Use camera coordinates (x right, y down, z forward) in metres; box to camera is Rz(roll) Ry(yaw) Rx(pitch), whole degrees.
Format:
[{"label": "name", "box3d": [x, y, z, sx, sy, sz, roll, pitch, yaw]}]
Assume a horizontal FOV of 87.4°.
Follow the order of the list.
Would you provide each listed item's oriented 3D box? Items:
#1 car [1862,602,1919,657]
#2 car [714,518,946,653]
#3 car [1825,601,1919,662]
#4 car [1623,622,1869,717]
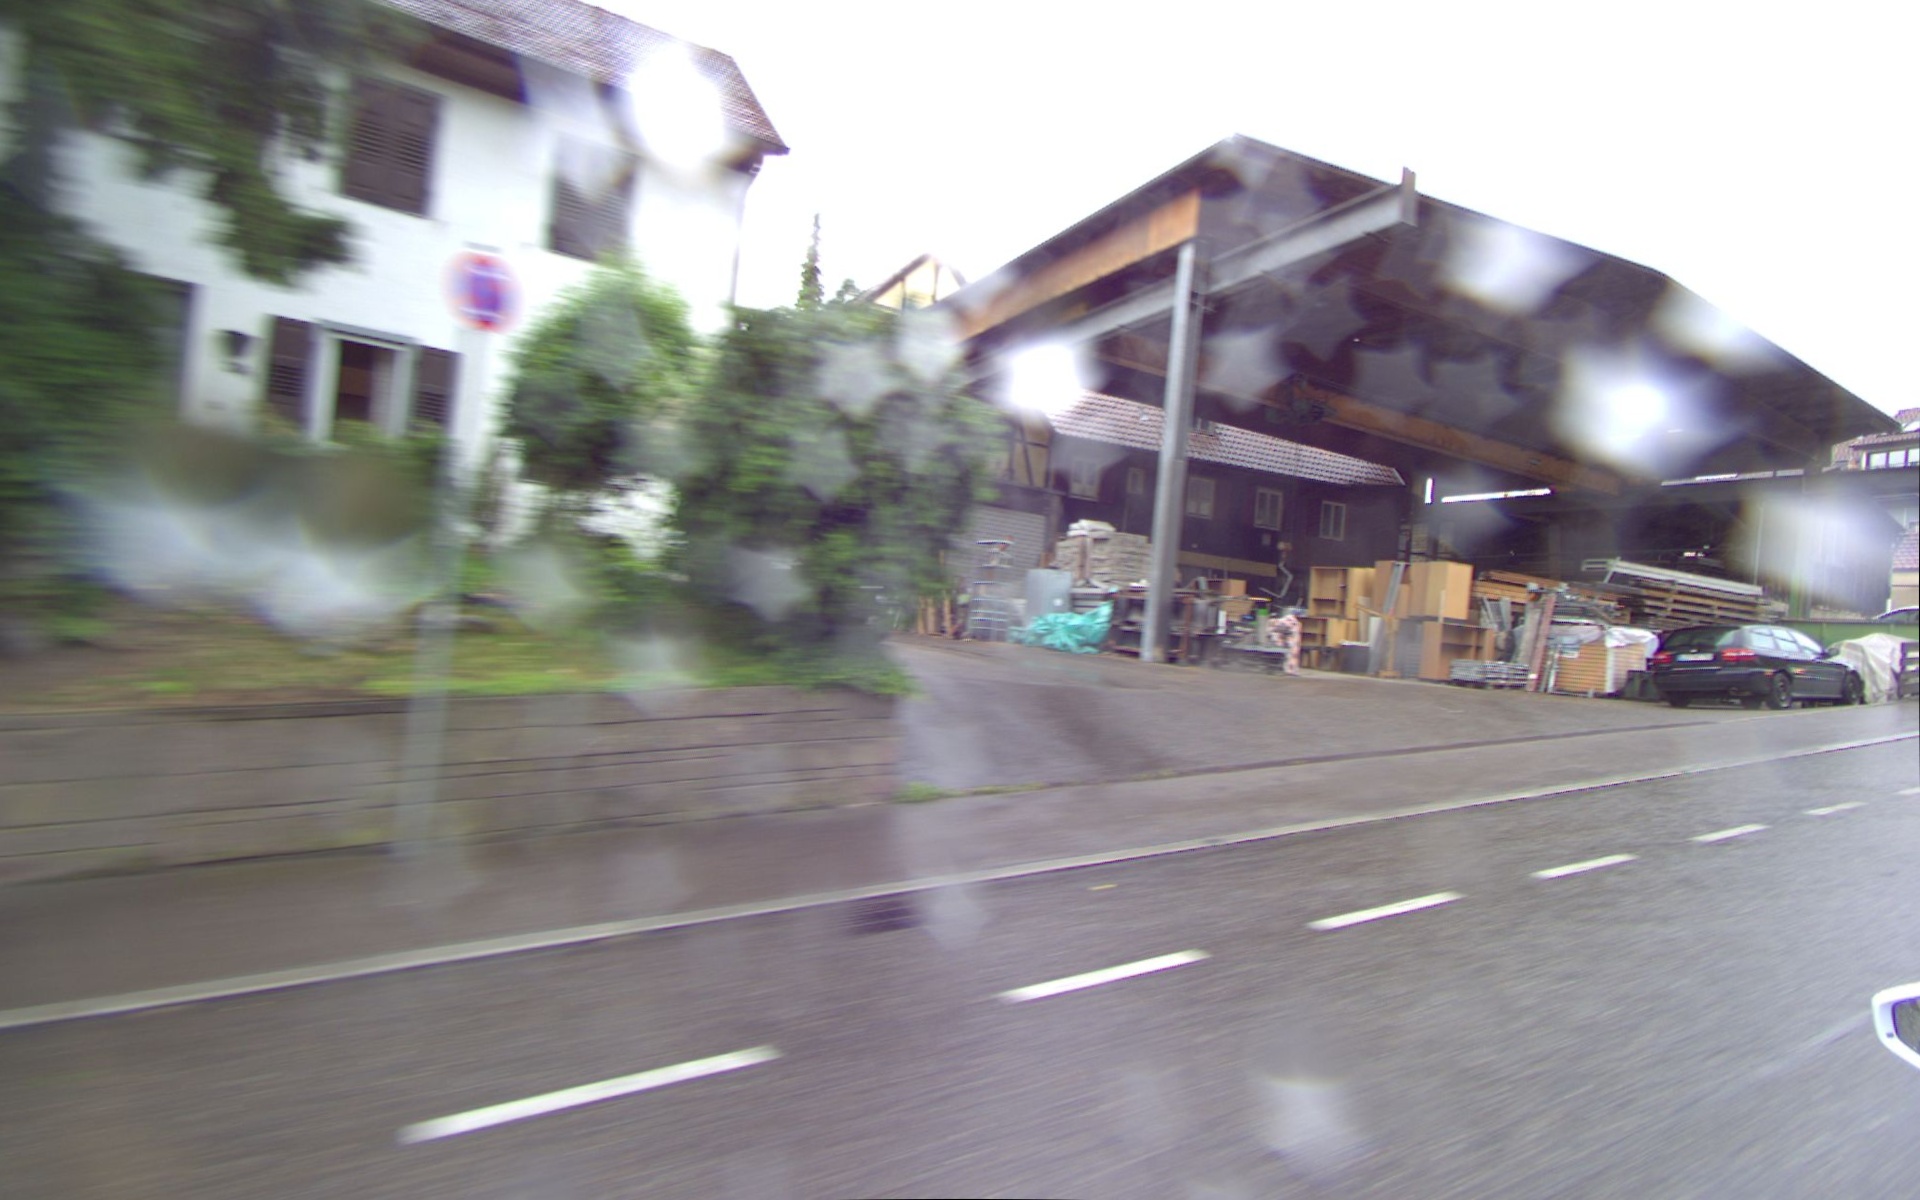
[{"label": "car", "box3d": [28.018, 0.847, 27.580, 1.871, 1.525, 4.492, 1, 0, -19]}, {"label": "car", "box3d": [-1.958, -0.168, 13.979, 1.783, 1.528, 3.968, 4, -1, -30]}, {"label": "car", "box3d": [25.322, 0.825, 26.043, 1.871, 1.525, 3.983, 1, 0, -19]}, {"label": "car", "box3d": [13.744, 1.117, 17.526, 4.393, 1.460, 1.886, 1, -1, -30]}]
